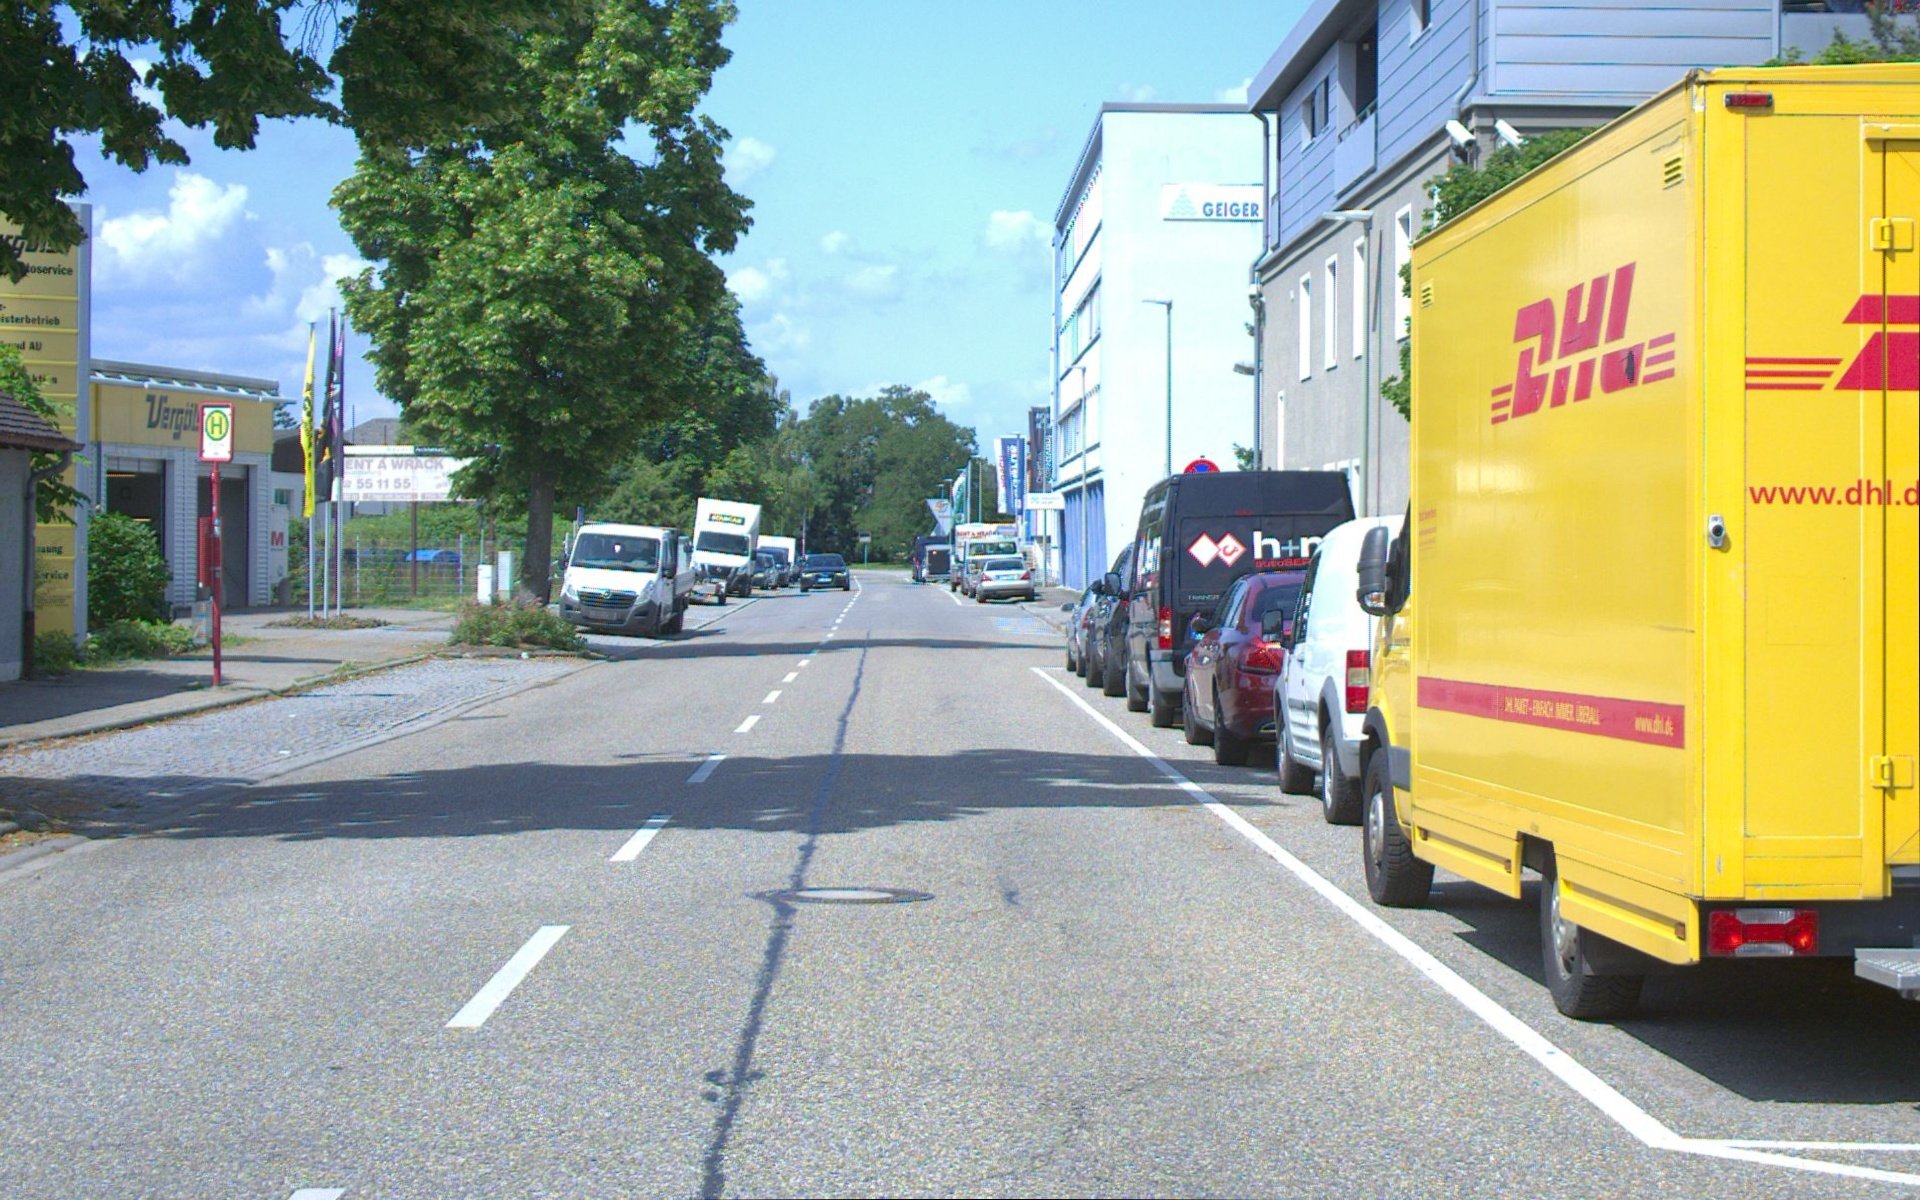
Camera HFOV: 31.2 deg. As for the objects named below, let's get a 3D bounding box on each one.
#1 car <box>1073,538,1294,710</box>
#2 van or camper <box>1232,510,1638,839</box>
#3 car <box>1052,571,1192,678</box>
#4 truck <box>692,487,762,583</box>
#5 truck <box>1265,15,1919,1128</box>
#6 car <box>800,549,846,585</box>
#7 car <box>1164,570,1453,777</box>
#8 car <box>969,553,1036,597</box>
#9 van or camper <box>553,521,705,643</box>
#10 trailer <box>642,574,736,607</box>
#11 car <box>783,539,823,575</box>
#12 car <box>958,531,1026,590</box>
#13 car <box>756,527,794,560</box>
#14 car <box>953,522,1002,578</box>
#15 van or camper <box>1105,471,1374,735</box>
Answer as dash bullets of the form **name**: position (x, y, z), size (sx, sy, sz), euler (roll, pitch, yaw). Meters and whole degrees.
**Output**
- **car**: position (2.473, 0.218, 39.249), size (1.960, 1.774, 4.955), euler (2, 1, -2)
- **van or camper**: position (2.877, 0.382, 22.019), size (1.759, 1.799, 5.587), euler (1, 1, 0)
- **car**: position (2.130, 0.299, 46.078), size (1.629, 1.349, 3.924), euler (0, 1, -1)
- **truck**: position (-7.888, -2.203, 116.951), size (2.029, 3.143, 6.500), euler (0, 1, -1)
- **truck**: position (2.859, -0.099, 12.747), size (2.474, 2.930, 7.189), euler (2, 1, -2)
- **car**: position (-5.219, -1.263, 131.619), size (1.654, 1.320, 4.417), euler (0, 1, -1)
- **car**: position (2.653, 0.506, 27.162), size (1.681, 1.437, 4.767), euler (1, 1, -1)
- **car**: position (1.278, -0.772, 105.081), size (1.928, 1.306, 4.000), euler (0, 1, -1)
- **van or camper**: position (-6.910, -0.427, 72.619), size (2.174, 2.405, 7.697), euler (1, 1, 2)
- **trailer**: position (-8.064, -0.292, 102.805), size (2.417, 0.811, 5.537), euler (2, 1, -1)
- **car**: position (-7.187, -1.988, 157.665), size (1.713, 1.645, 4.000), euler (0, 1, -1)
- **car**: position (1.078, -1.380, 118.960), size (2.216, 2.007, 5.485), euler (0, 1, -1)
- **car**: position (-10.494, -3.219, 195.210), size (1.993, 1.809, 4.000), euler (0, 1, -1)
- **car**: position (0.649, -1.895, 129.260), size (1.707, 2.082, 4.000), euler (0, 1, -2)
- **van or camper**: position (2.601, -0.009, 33.280), size (1.993, 2.283, 5.448), euler (2, 1, -1)
